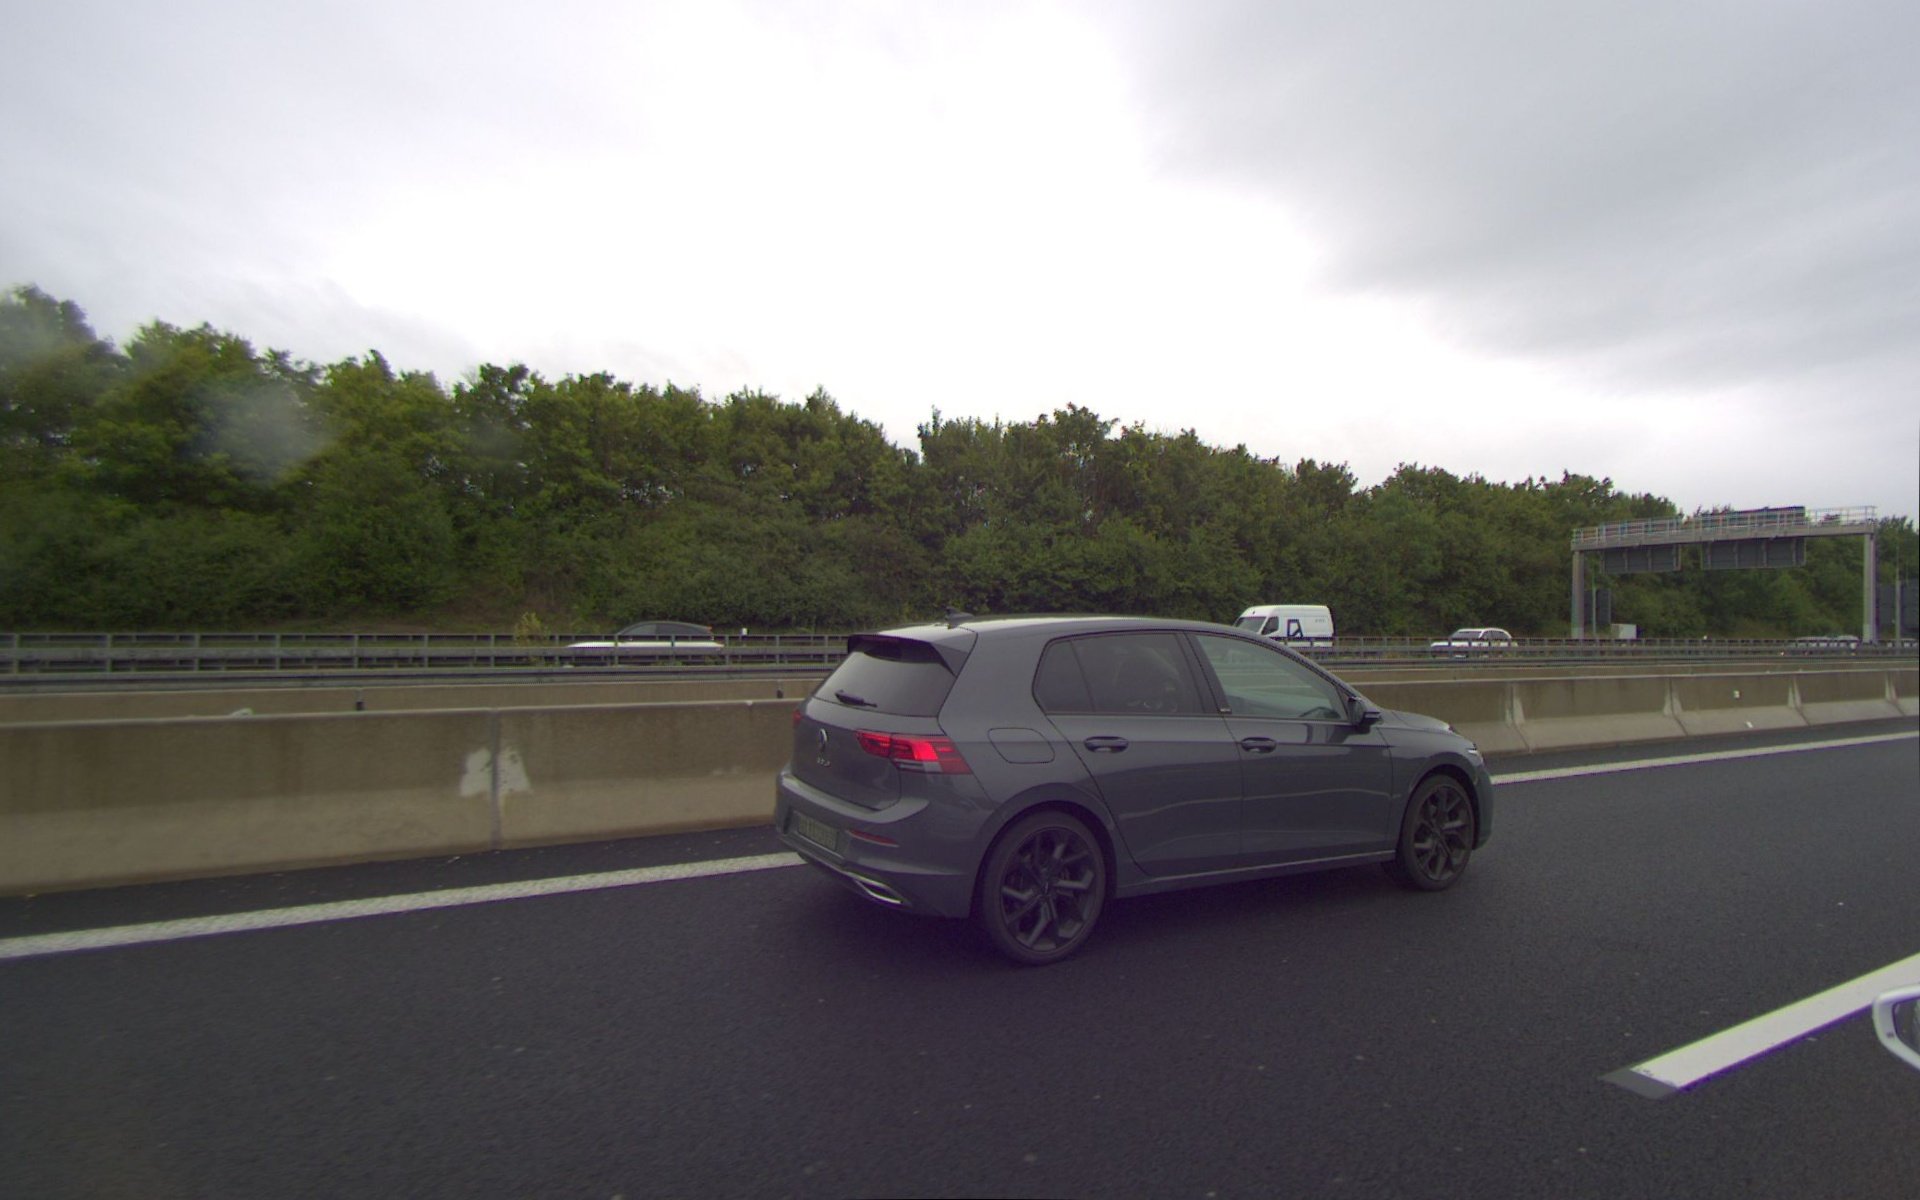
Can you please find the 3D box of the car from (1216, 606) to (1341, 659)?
[{"bbox_3d":[14.076,1.437,44.307,5.648,2.243,1.984,1,-1,-30],"label":"car"}]

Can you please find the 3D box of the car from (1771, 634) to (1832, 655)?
[{"bbox_3d":[59.662,3.154,71.208,3.949,1.416,1.986,1,-1,-27],"label":"car"}]

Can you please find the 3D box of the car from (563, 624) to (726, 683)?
[{"bbox_3d":[-8.331,1.398,26.593,3.870,1.444,1.583,2,0,-29],"label":"car"}]

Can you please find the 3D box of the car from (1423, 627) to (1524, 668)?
[{"bbox_3d":[23.190,2.133,45.335,4.529,1.760,1.984,1,-1,-31],"label":"car"}]

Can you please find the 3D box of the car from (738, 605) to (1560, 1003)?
[{"bbox_3d":[1.155,0.810,5.561,4.315,1.444,1.822,2,0,-29],"label":"car"}]
